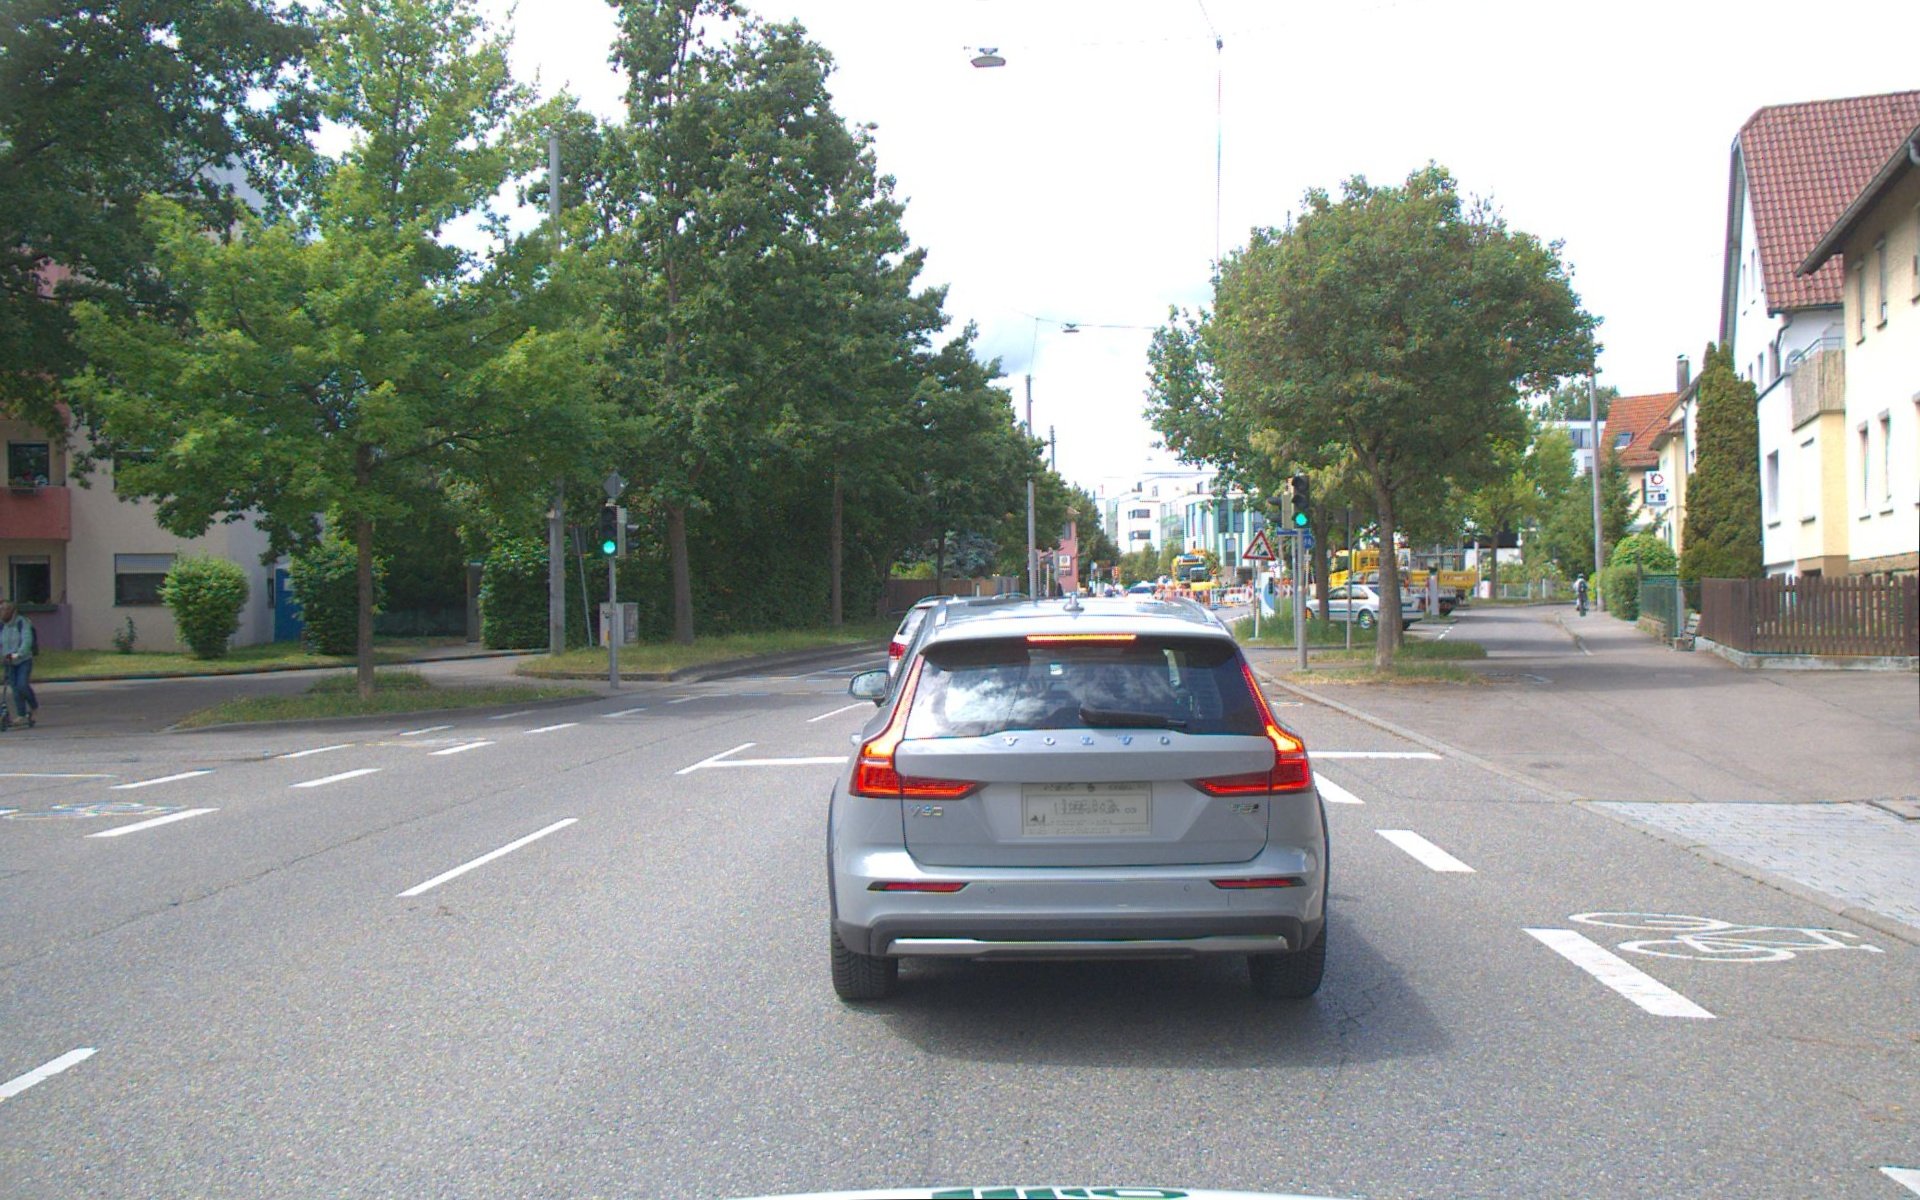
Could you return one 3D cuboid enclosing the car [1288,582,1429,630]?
[{"bbox_3d":[13.055,0.170,54.395,1.745,1.477,4.638,-1,1,-32],"label":"car"}]

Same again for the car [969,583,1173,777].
[{"bbox_3d":[0.975,0.670,15.362,1.627,1.534,3.703,2,0,2],"label":"car"}]

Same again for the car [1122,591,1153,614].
[{"bbox_3d":[11.606,0.190,107.901,1.789,1.353,4.003,1,-2,9],"label":"car"}]

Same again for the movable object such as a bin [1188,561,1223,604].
[{"bbox_3d":[16.287,-1.157,109.388,1.991,2.689,5.945,-2,0,11],"label":"movable object such as a bin"}]

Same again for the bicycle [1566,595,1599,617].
[{"bbox_3d":[24.318,0.244,64.628,0.582,0.826,1.753,1,0,-1],"label":"bicycle"}]

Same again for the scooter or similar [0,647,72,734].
[{"bbox_3d":[-12.584,1.203,22.259,0.741,1.102,0.944,1,-1,-1],"label":"scooter or similar"}]

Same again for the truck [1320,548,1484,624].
[{"bbox_3d":[18.825,-0.595,70.842,2.737,3.061,6.626,2,-1,-34],"label":"truck"}]

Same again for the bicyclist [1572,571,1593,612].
[{"bbox_3d":[24.329,-0.343,64.657,0.577,1.586,0.566,1,-1,-2],"label":"bicyclist"}]

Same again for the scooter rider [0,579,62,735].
[{"bbox_3d":[-12.627,0.753,22.191,0.663,2.049,0.794,1,-1,-1],"label":"scooter rider"}]

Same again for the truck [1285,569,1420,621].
[{"bbox_3d":[16.320,-0.214,69.065,1.977,2.049,5.608,2,-1,-35],"label":"truck"}]

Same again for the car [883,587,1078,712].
[{"bbox_3d":[0.388,0.643,22.779,2.057,1.536,4.003,1,-1,10],"label":"car"}]

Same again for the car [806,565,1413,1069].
[{"bbox_3d":[0.511,0.669,7.186,1.888,1.567,4.001,0,0,1],"label":"car"}]
